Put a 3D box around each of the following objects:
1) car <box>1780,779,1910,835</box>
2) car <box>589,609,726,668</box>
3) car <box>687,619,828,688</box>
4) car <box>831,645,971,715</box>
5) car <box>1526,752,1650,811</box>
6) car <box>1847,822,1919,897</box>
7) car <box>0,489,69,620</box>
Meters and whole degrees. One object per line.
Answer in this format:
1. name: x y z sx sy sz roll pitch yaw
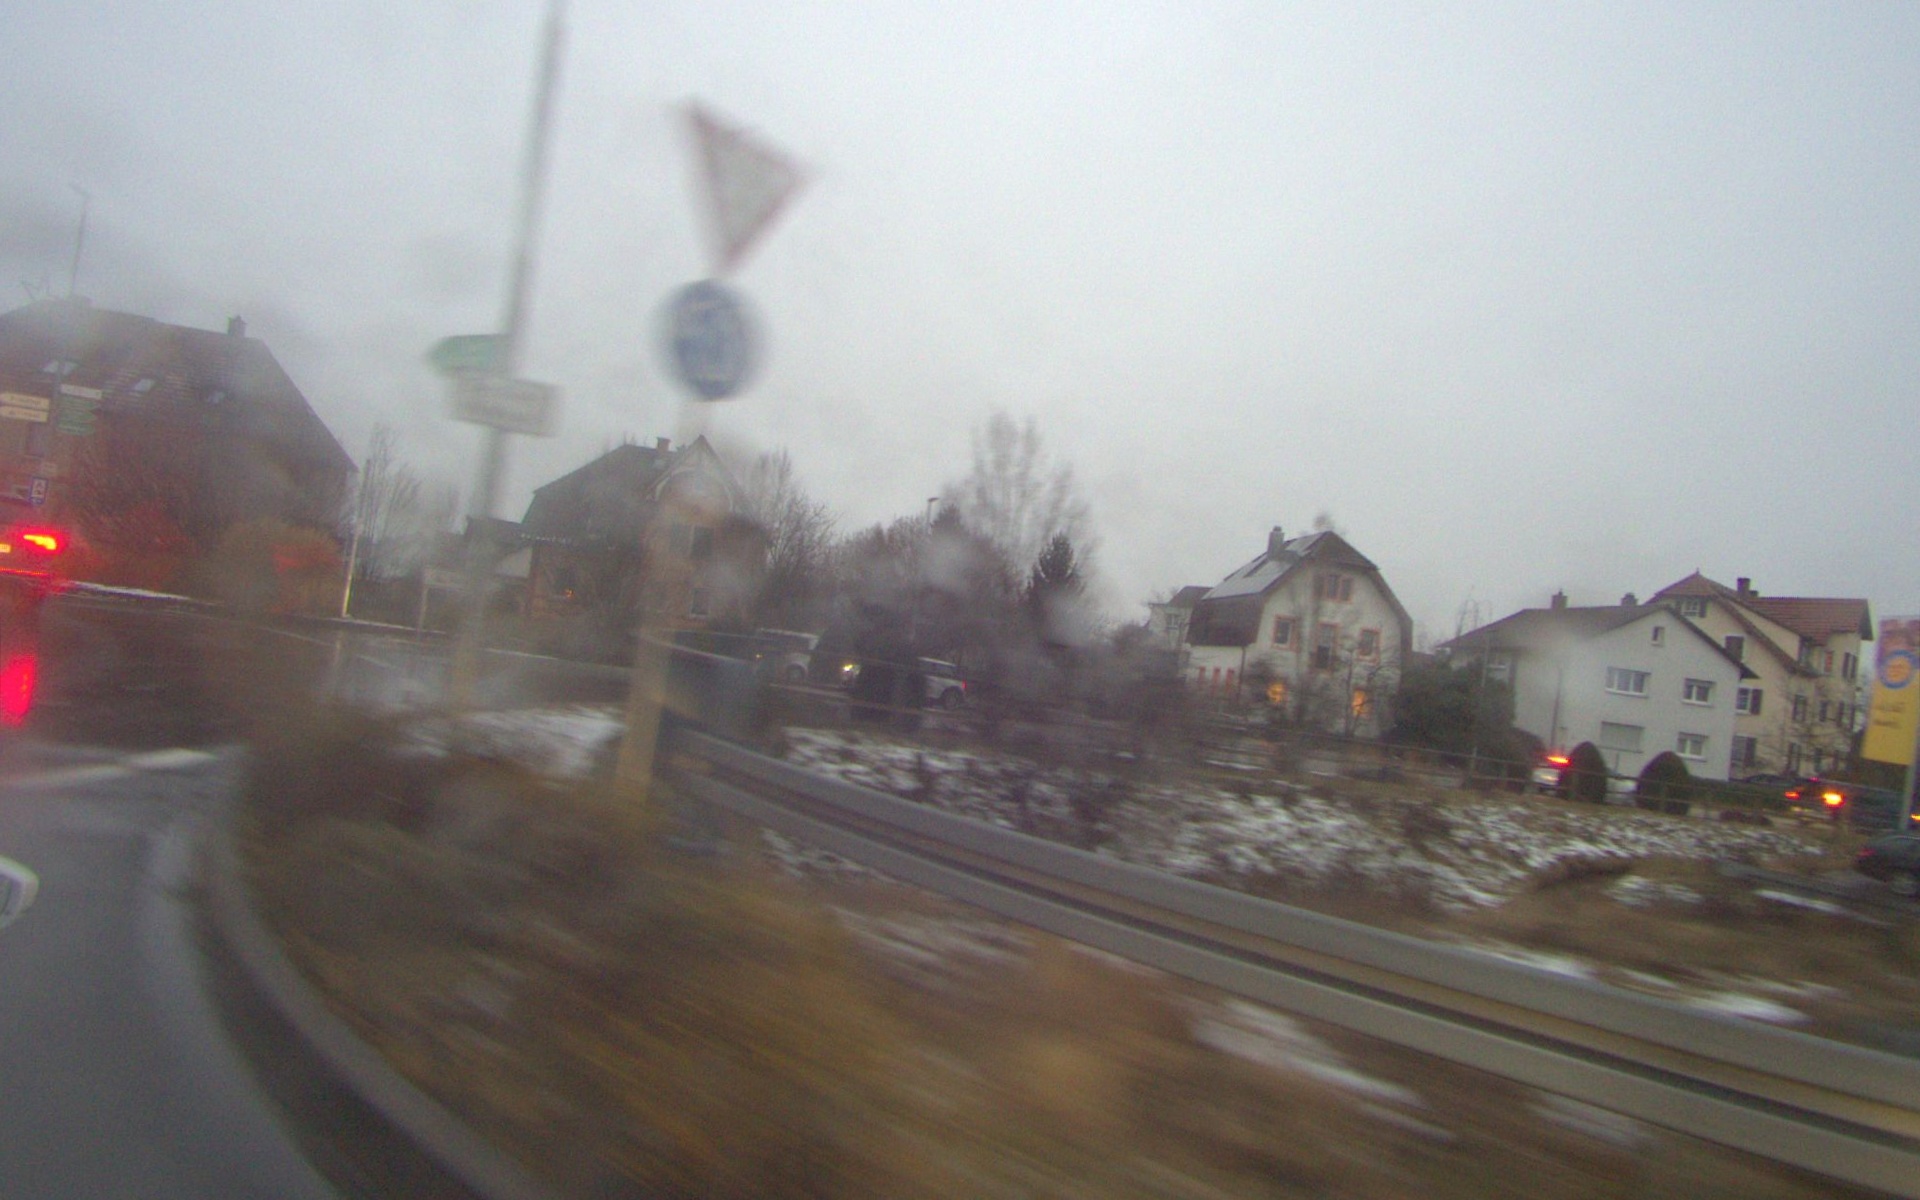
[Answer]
1. car: 35.340 8.266 40.221 3.648 1.507 1.919 9 -4 -7
2. car: -13.072 1.657 43.821 5.240 1.887 2.366 7 -2 -8
3. car: -7.979 2.163 40.148 5.158 1.938 1.940 9 -4 -7
4. car: -1.742 2.362 29.766 3.667 1.507 1.655 11 -5 -24
5. car: 22.852 6.610 36.638 3.800 1.507 1.756 10 -5 -19
6. car: 22.650 6.104 22.460 1.598 1.417 3.918 10 -4 -33
7. car: -15.046 -0.863 14.715 3.936 1.737 1.948 6 -3 34
